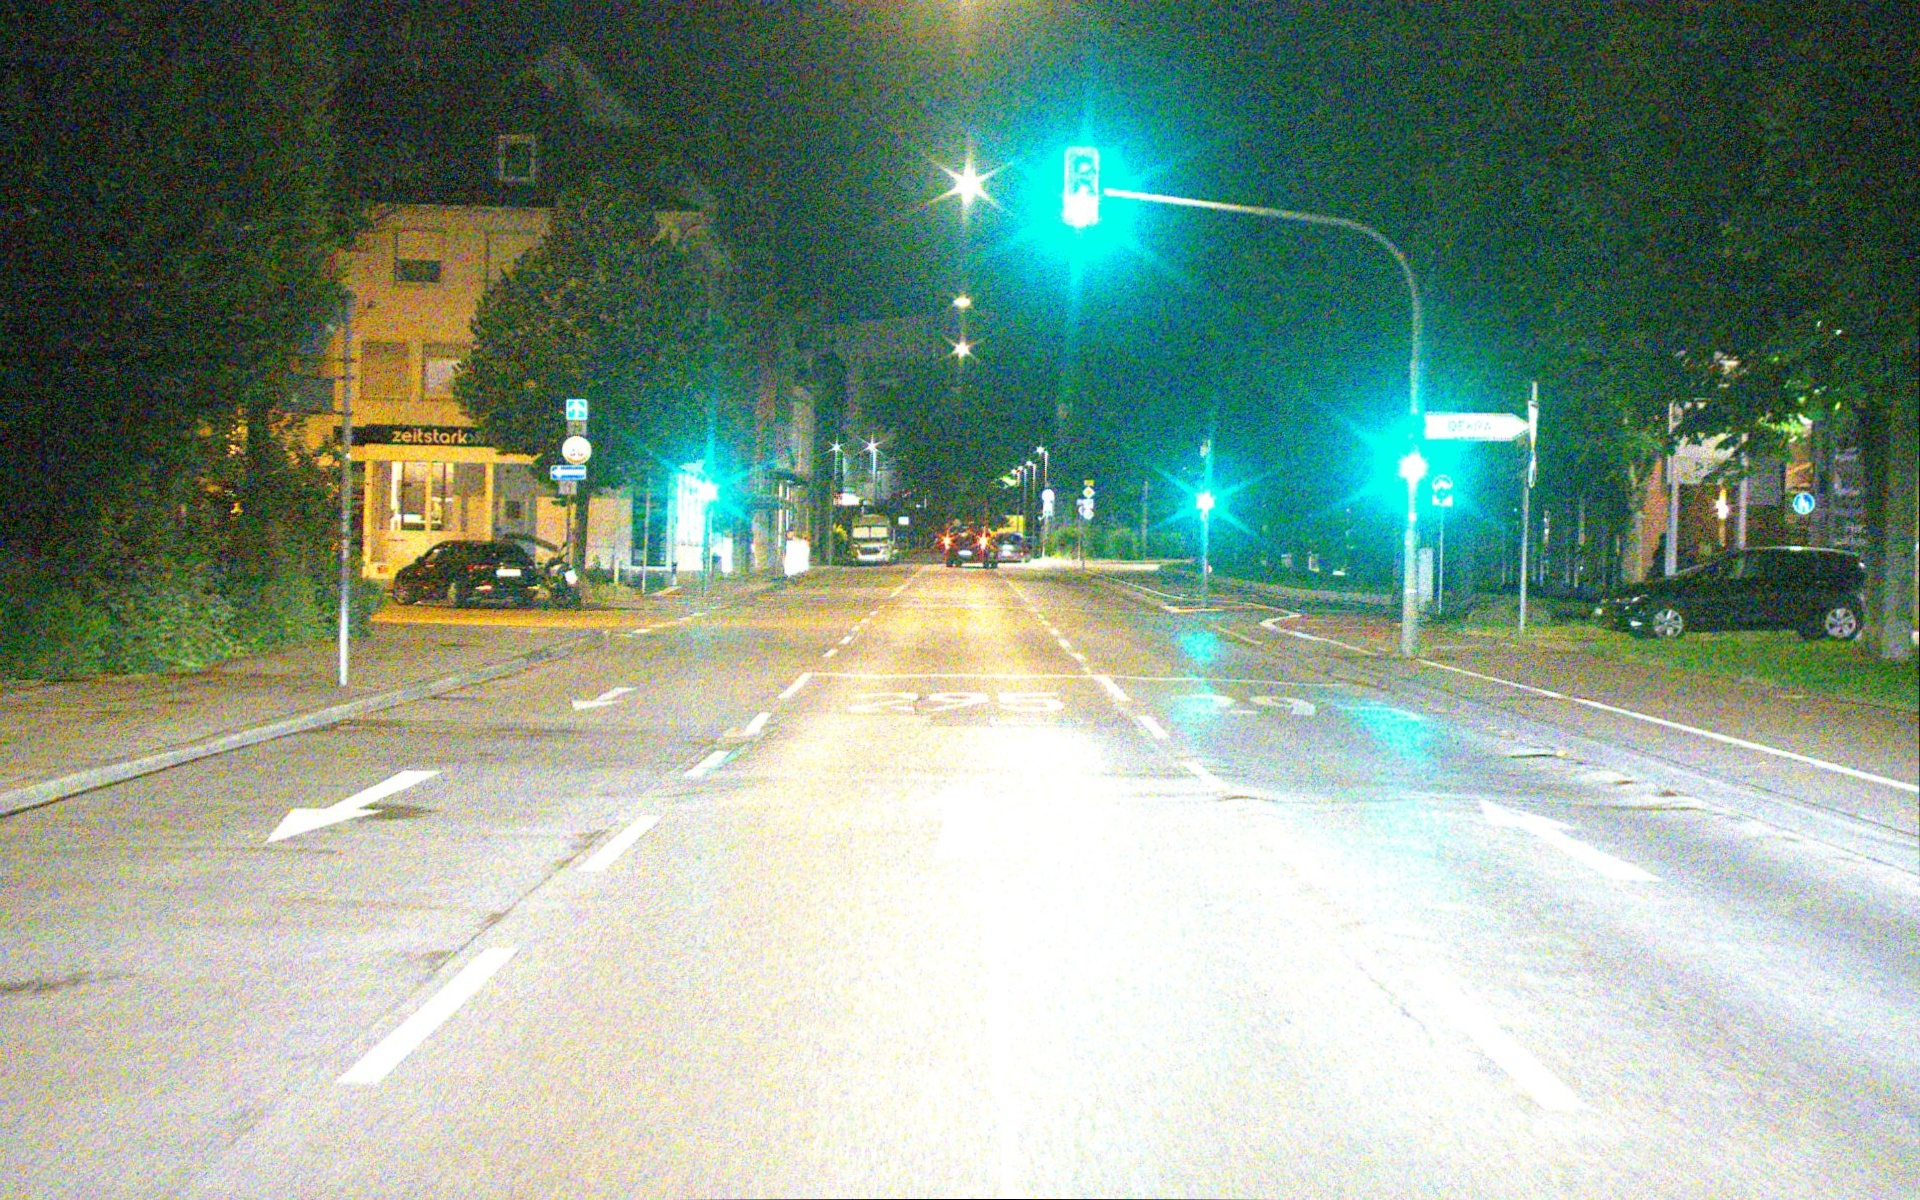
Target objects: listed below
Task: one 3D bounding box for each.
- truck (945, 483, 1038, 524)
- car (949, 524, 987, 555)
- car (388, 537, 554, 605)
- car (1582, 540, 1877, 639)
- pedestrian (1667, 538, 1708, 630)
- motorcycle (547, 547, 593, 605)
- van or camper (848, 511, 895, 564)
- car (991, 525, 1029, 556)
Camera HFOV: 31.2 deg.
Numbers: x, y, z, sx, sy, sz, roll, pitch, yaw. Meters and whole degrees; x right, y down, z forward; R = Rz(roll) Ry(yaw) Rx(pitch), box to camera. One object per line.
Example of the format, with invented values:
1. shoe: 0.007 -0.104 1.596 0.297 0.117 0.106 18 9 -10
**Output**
1. truck: 2.336 -7.224 257.349 6.775 2.834 2.000 1 1 -3
2. car: 0.372 -2.679 152.238 1.663 1.338 3.625 1 1 1
3. car: -10.641 -0.655 74.546 1.886 1.419 4.730 -1 1 -31
4. car: 11.720 -0.171 52.529 4.081 1.449 1.787 0 1 0
5. pedestrian: 14.471 -0.321 68.365 0.621 1.805 0.759 1 1 0
6. motorcycle: -8.097 -0.503 71.318 0.571 1.175 2.033 0 1 -17
7. van or camper: -4.340 -3.079 169.561 2.158 2.527 6.227 -2 1 0
8. car: 2.635 -3.115 179.877 1.884 1.597 4.107 -1 1 2
